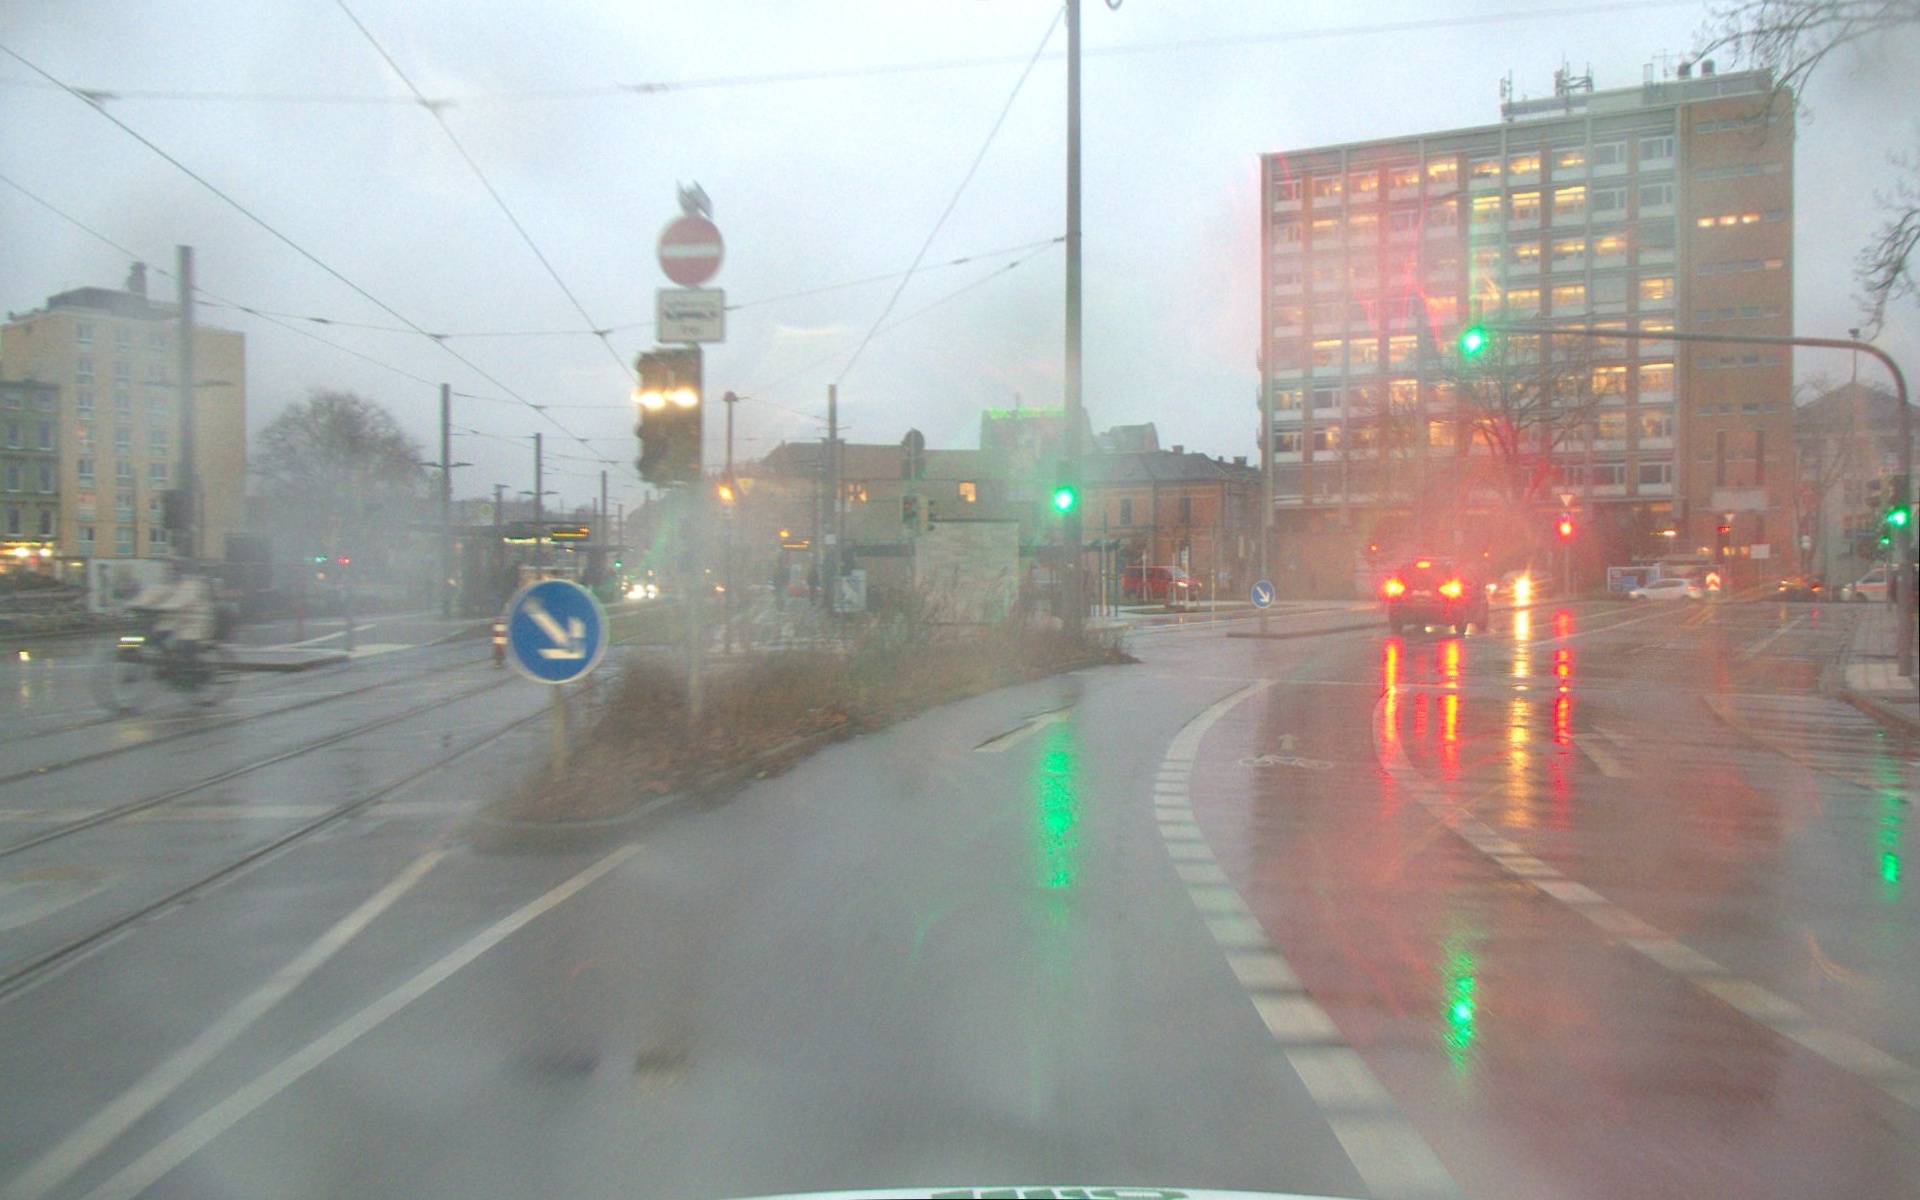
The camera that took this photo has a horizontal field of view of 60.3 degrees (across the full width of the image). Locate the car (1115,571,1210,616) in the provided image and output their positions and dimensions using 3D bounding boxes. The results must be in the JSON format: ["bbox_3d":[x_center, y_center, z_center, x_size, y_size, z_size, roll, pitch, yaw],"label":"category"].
[{"bbox_3d":[11.361,-0.370,92.954,2.241,2.321,4.957,2,0,-44],"label":"car"}]

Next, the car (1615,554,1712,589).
[{"bbox_3d":[45.249,-1.869,106.421,5.454,2.059,1.993,2,0,36],"label":"car"}]

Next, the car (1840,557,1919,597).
[{"bbox_3d":[47.564,-1.134,83.604,1.985,1.946,5.087,0,2,-45],"label":"car"}]

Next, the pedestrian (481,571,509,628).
[{"bbox_3d":[-14.808,-0.029,52.660,0.698,1.788,0.717,1,0,-5],"label":"pedestrian"}]

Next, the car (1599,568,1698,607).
[{"bbox_3d":[39.492,-0.712,94.901,4.859,2.049,1.988,2,0,42],"label":"car"}]

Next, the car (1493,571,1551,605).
[{"bbox_3d":[25.170,-0.539,74.009,1.713,1.402,4.360,-1,1,29],"label":"car"}]

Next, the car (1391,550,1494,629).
[{"bbox_3d":[12.174,-0.307,41.595,1.616,1.850,3.994,2,2,29],"label":"car"}]

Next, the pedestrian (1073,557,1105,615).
[{"bbox_3d":[3.915,-0.423,50.164,0.661,1.703,0.728,2,0,33],"label":"pedestrian"}]

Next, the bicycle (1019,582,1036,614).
[{"bbox_3d":[2.560,-0.091,62.892,0.537,1.185,1.899,2,0,0],"label":"bicycle"}]

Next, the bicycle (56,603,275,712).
[{"bbox_3d":[-8.927,0.614,18.675,0.616,1.093,2.200,2,3,37],"label":"bicycle"}]

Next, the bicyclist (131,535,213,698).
[{"bbox_3d":[-8.897,0.183,18.678,0.600,1.798,0.586,2,0,38],"label":"bicyclist"}]

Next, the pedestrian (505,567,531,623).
[{"bbox_3d":[-14.723,-0.176,55.087,0.698,1.837,0.717,1,0,-5],"label":"pedestrian"}]

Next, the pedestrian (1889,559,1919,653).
[{"bbox_3d":[17.831,0.090,30.790,0.788,1.714,1.156,-1,1,24],"label":"pedestrian"}]
